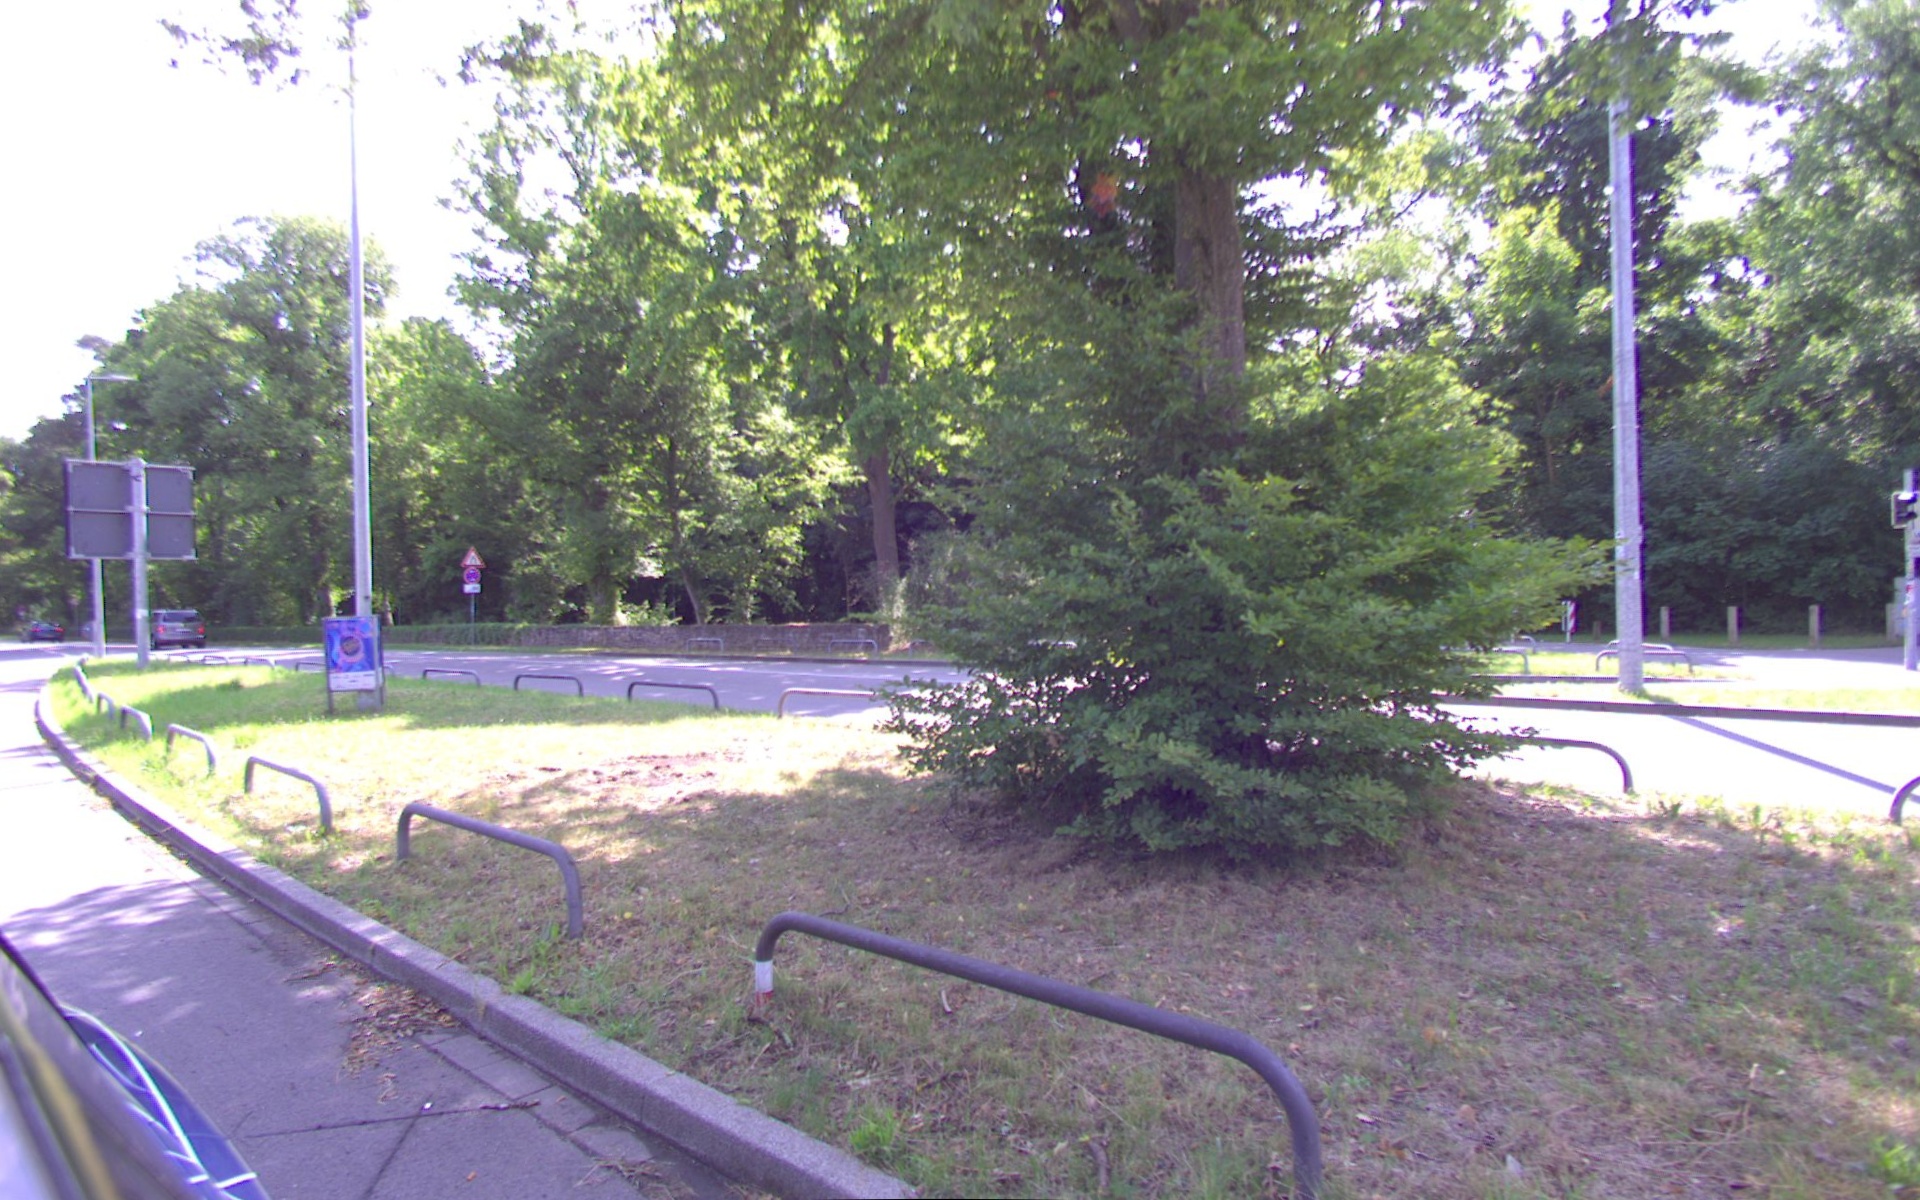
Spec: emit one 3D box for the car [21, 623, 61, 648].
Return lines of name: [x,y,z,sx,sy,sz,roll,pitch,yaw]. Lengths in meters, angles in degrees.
car: [-60.336,2.324,66.418,4.068,1.457,1.676,0,2,44]

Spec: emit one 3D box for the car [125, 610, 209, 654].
car: [-33.516,1.354,42.726,4.293,1.642,1.744,-2,2,38]
